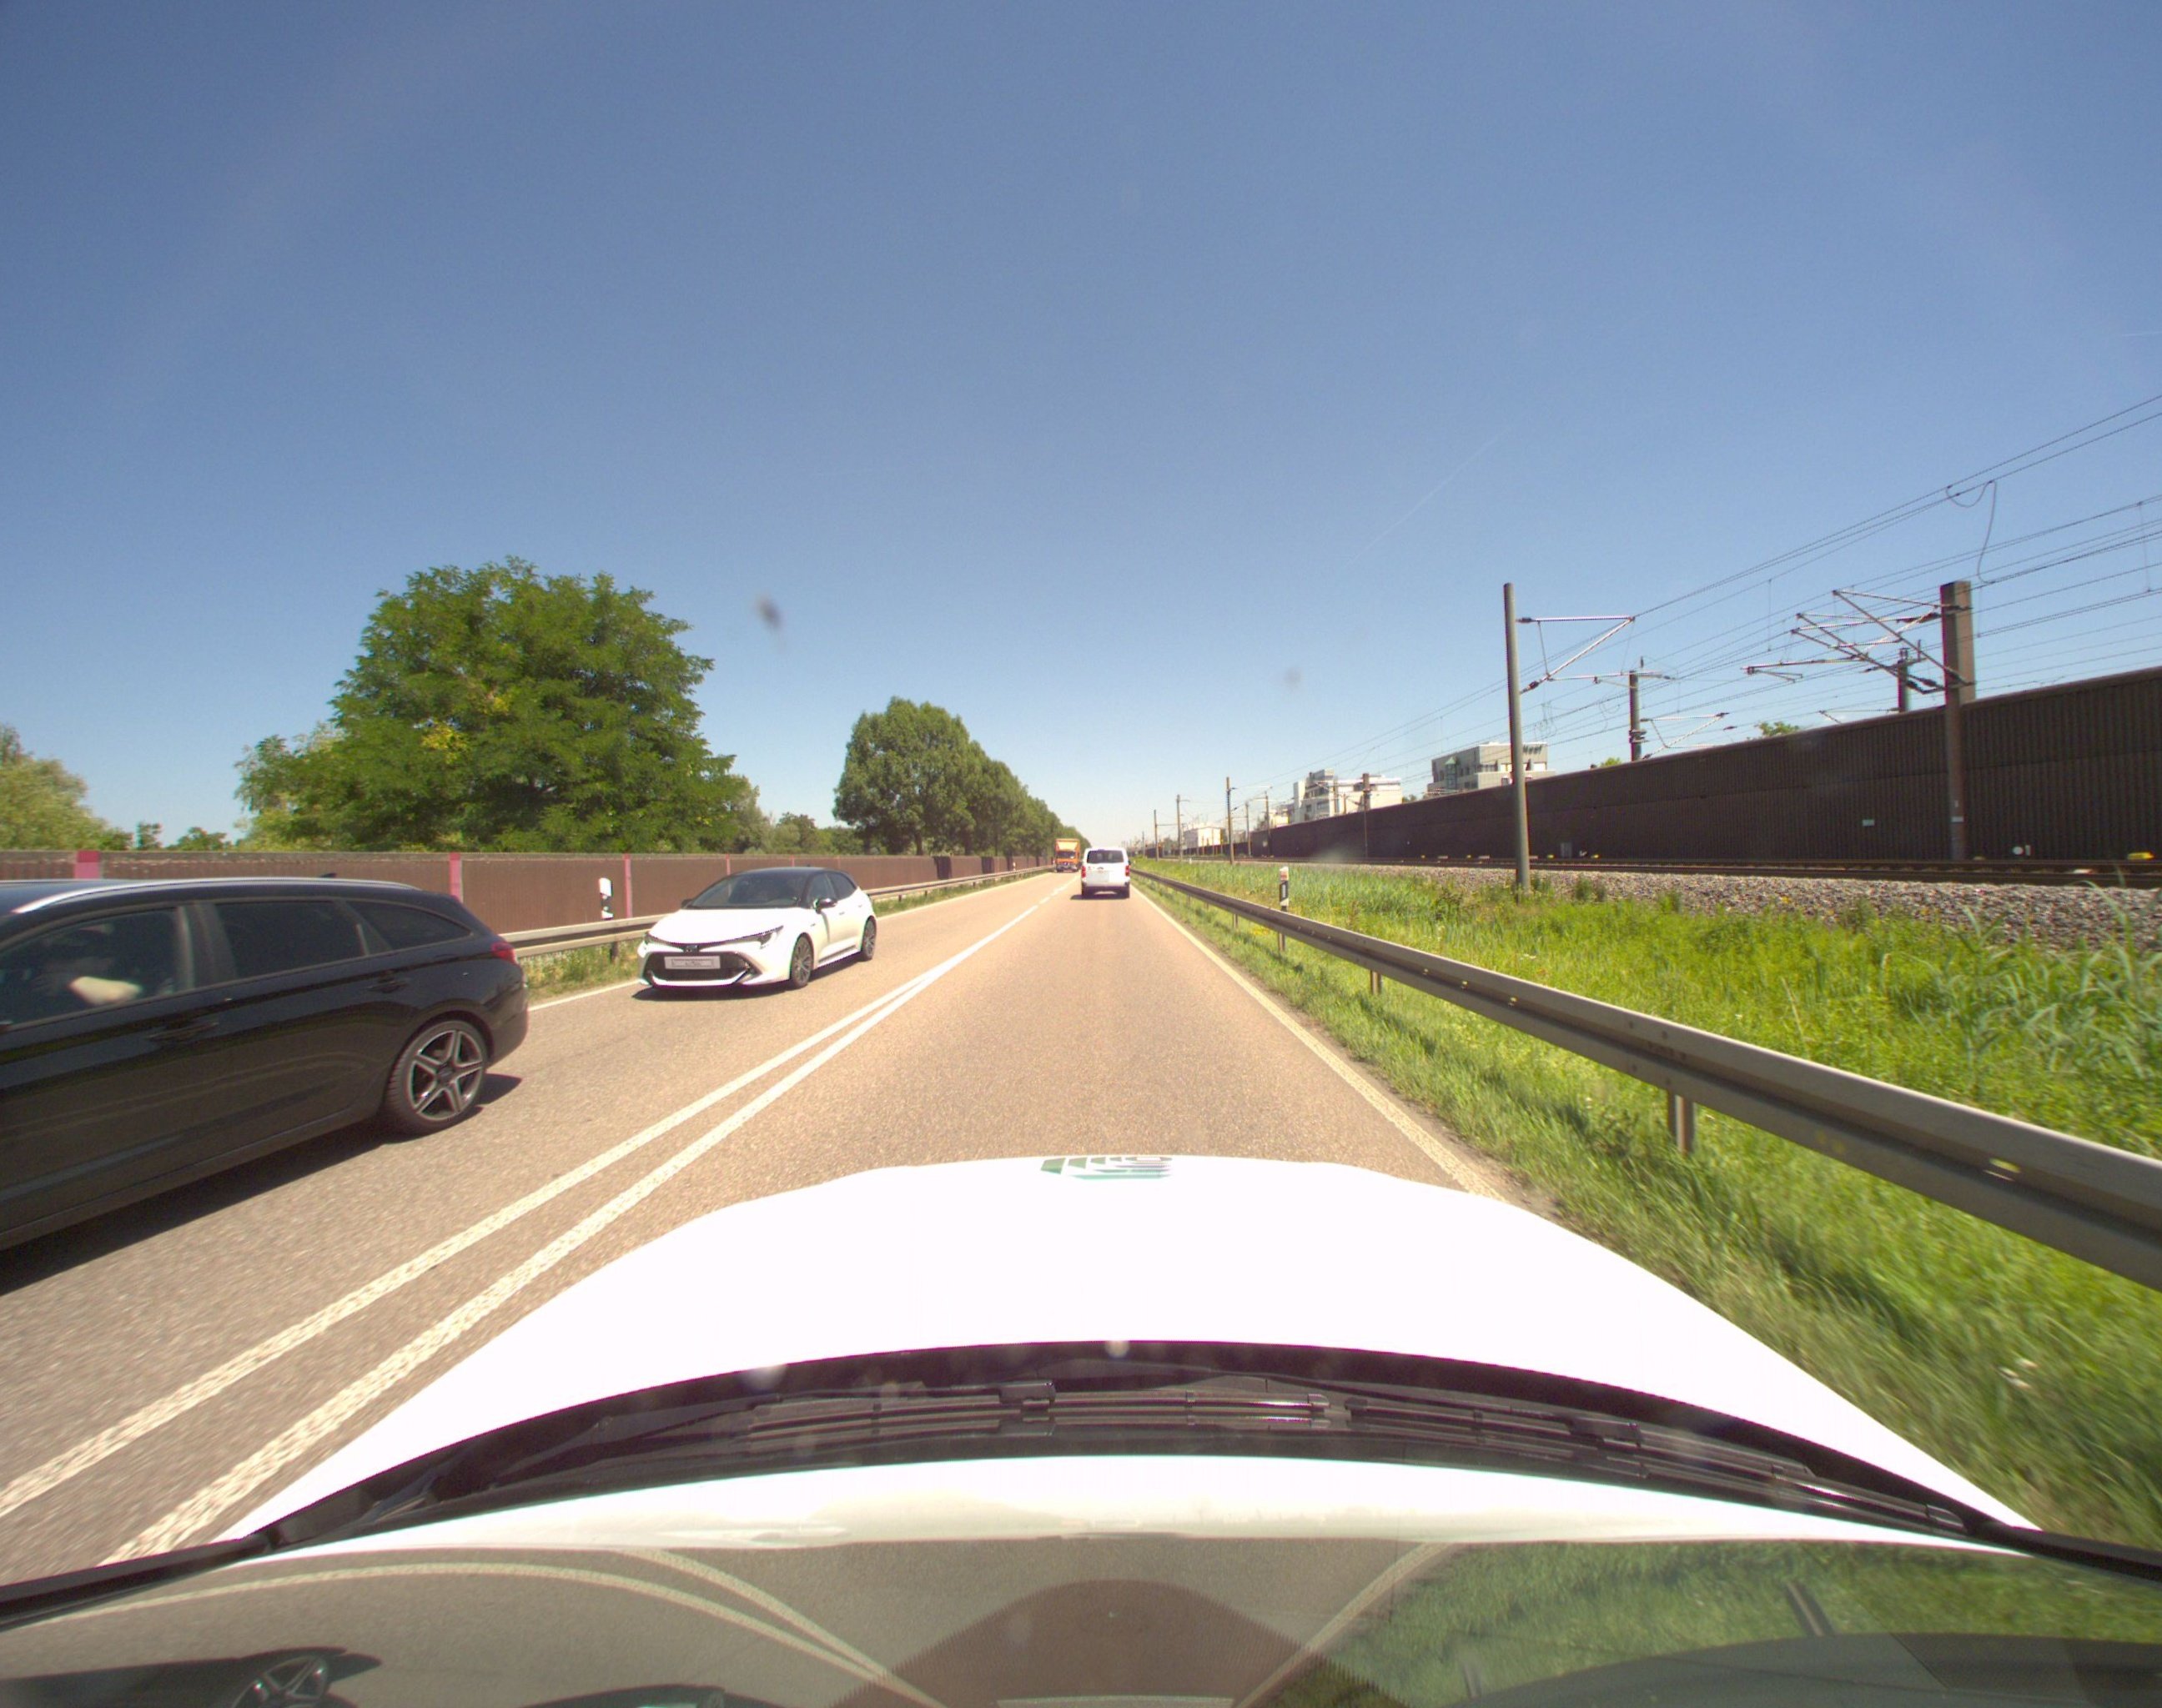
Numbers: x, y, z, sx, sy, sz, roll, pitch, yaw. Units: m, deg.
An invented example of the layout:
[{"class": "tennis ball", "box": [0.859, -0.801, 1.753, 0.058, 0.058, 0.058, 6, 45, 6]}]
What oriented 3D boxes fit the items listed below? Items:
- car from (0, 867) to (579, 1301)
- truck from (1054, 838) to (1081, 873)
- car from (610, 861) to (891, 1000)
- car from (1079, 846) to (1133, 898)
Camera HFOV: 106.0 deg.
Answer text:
[{"class": "car", "box": [-4.511, 0.812, 3.495, 1.678, 1.460, 4.619, 0, 0, 3]}, {"class": "truck", "box": [-1.536, 0.193, 97.142, 2.782, 3.840, 9.326, -1, -1, 2]}, {"class": "car", "box": [-4.064, 0.840, 10.977, 1.678, 1.460, 4.620, 0, 0, 3]}, {"class": "car", "box": [0.976, 0.683, 32.299, 1.938, 1.881, 4.882, -1, -1, 1]}]
